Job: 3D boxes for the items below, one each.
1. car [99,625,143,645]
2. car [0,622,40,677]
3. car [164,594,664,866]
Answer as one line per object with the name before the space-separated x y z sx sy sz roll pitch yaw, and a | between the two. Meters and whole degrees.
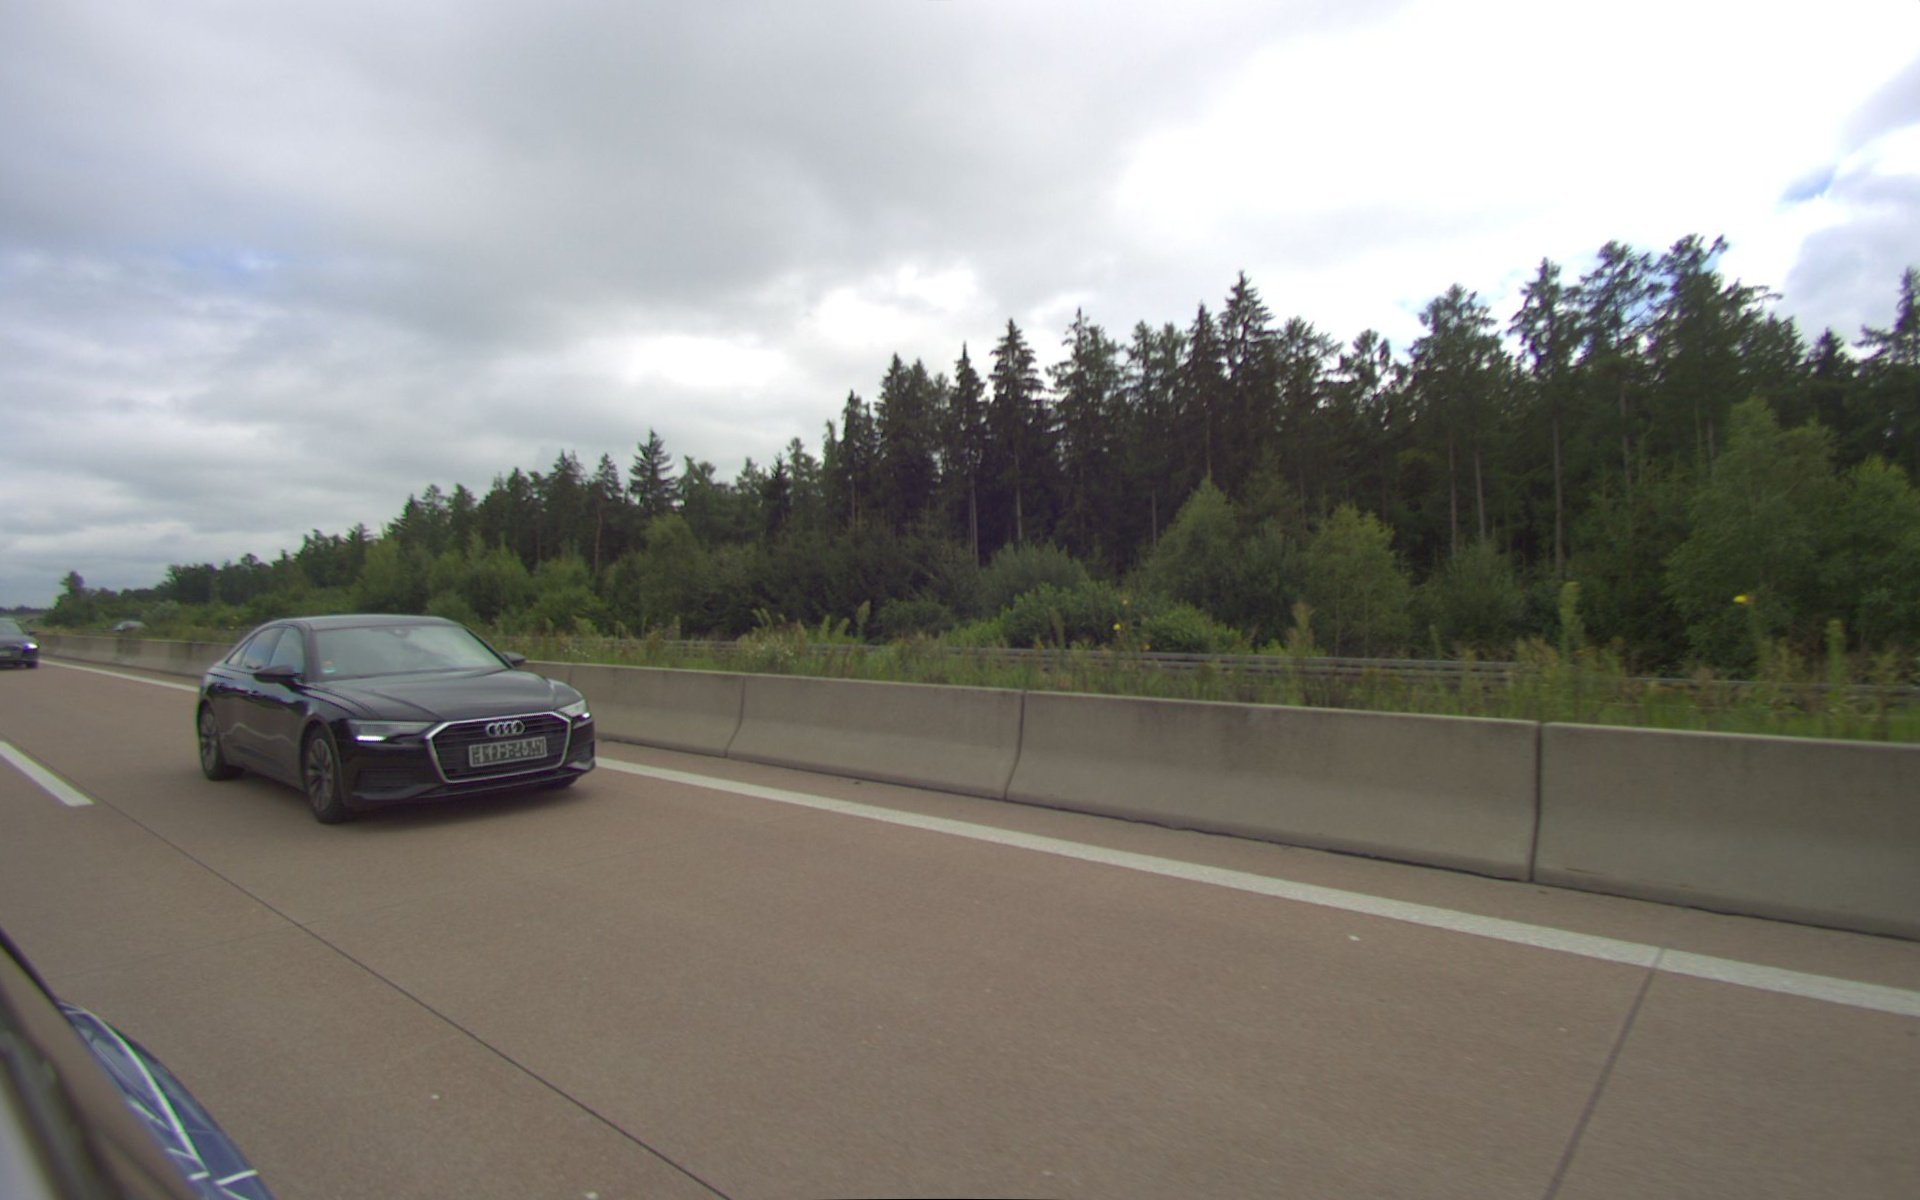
car | -71.760 2.955 86.565 5.195 1.603 2.102 -1 -2 41
car | -28.711 1.411 29.632 5.450 1.503 2.037 -1 -1 41
car | -4.947 0.804 8.621 5.674 1.562 2.062 -1 0 43
